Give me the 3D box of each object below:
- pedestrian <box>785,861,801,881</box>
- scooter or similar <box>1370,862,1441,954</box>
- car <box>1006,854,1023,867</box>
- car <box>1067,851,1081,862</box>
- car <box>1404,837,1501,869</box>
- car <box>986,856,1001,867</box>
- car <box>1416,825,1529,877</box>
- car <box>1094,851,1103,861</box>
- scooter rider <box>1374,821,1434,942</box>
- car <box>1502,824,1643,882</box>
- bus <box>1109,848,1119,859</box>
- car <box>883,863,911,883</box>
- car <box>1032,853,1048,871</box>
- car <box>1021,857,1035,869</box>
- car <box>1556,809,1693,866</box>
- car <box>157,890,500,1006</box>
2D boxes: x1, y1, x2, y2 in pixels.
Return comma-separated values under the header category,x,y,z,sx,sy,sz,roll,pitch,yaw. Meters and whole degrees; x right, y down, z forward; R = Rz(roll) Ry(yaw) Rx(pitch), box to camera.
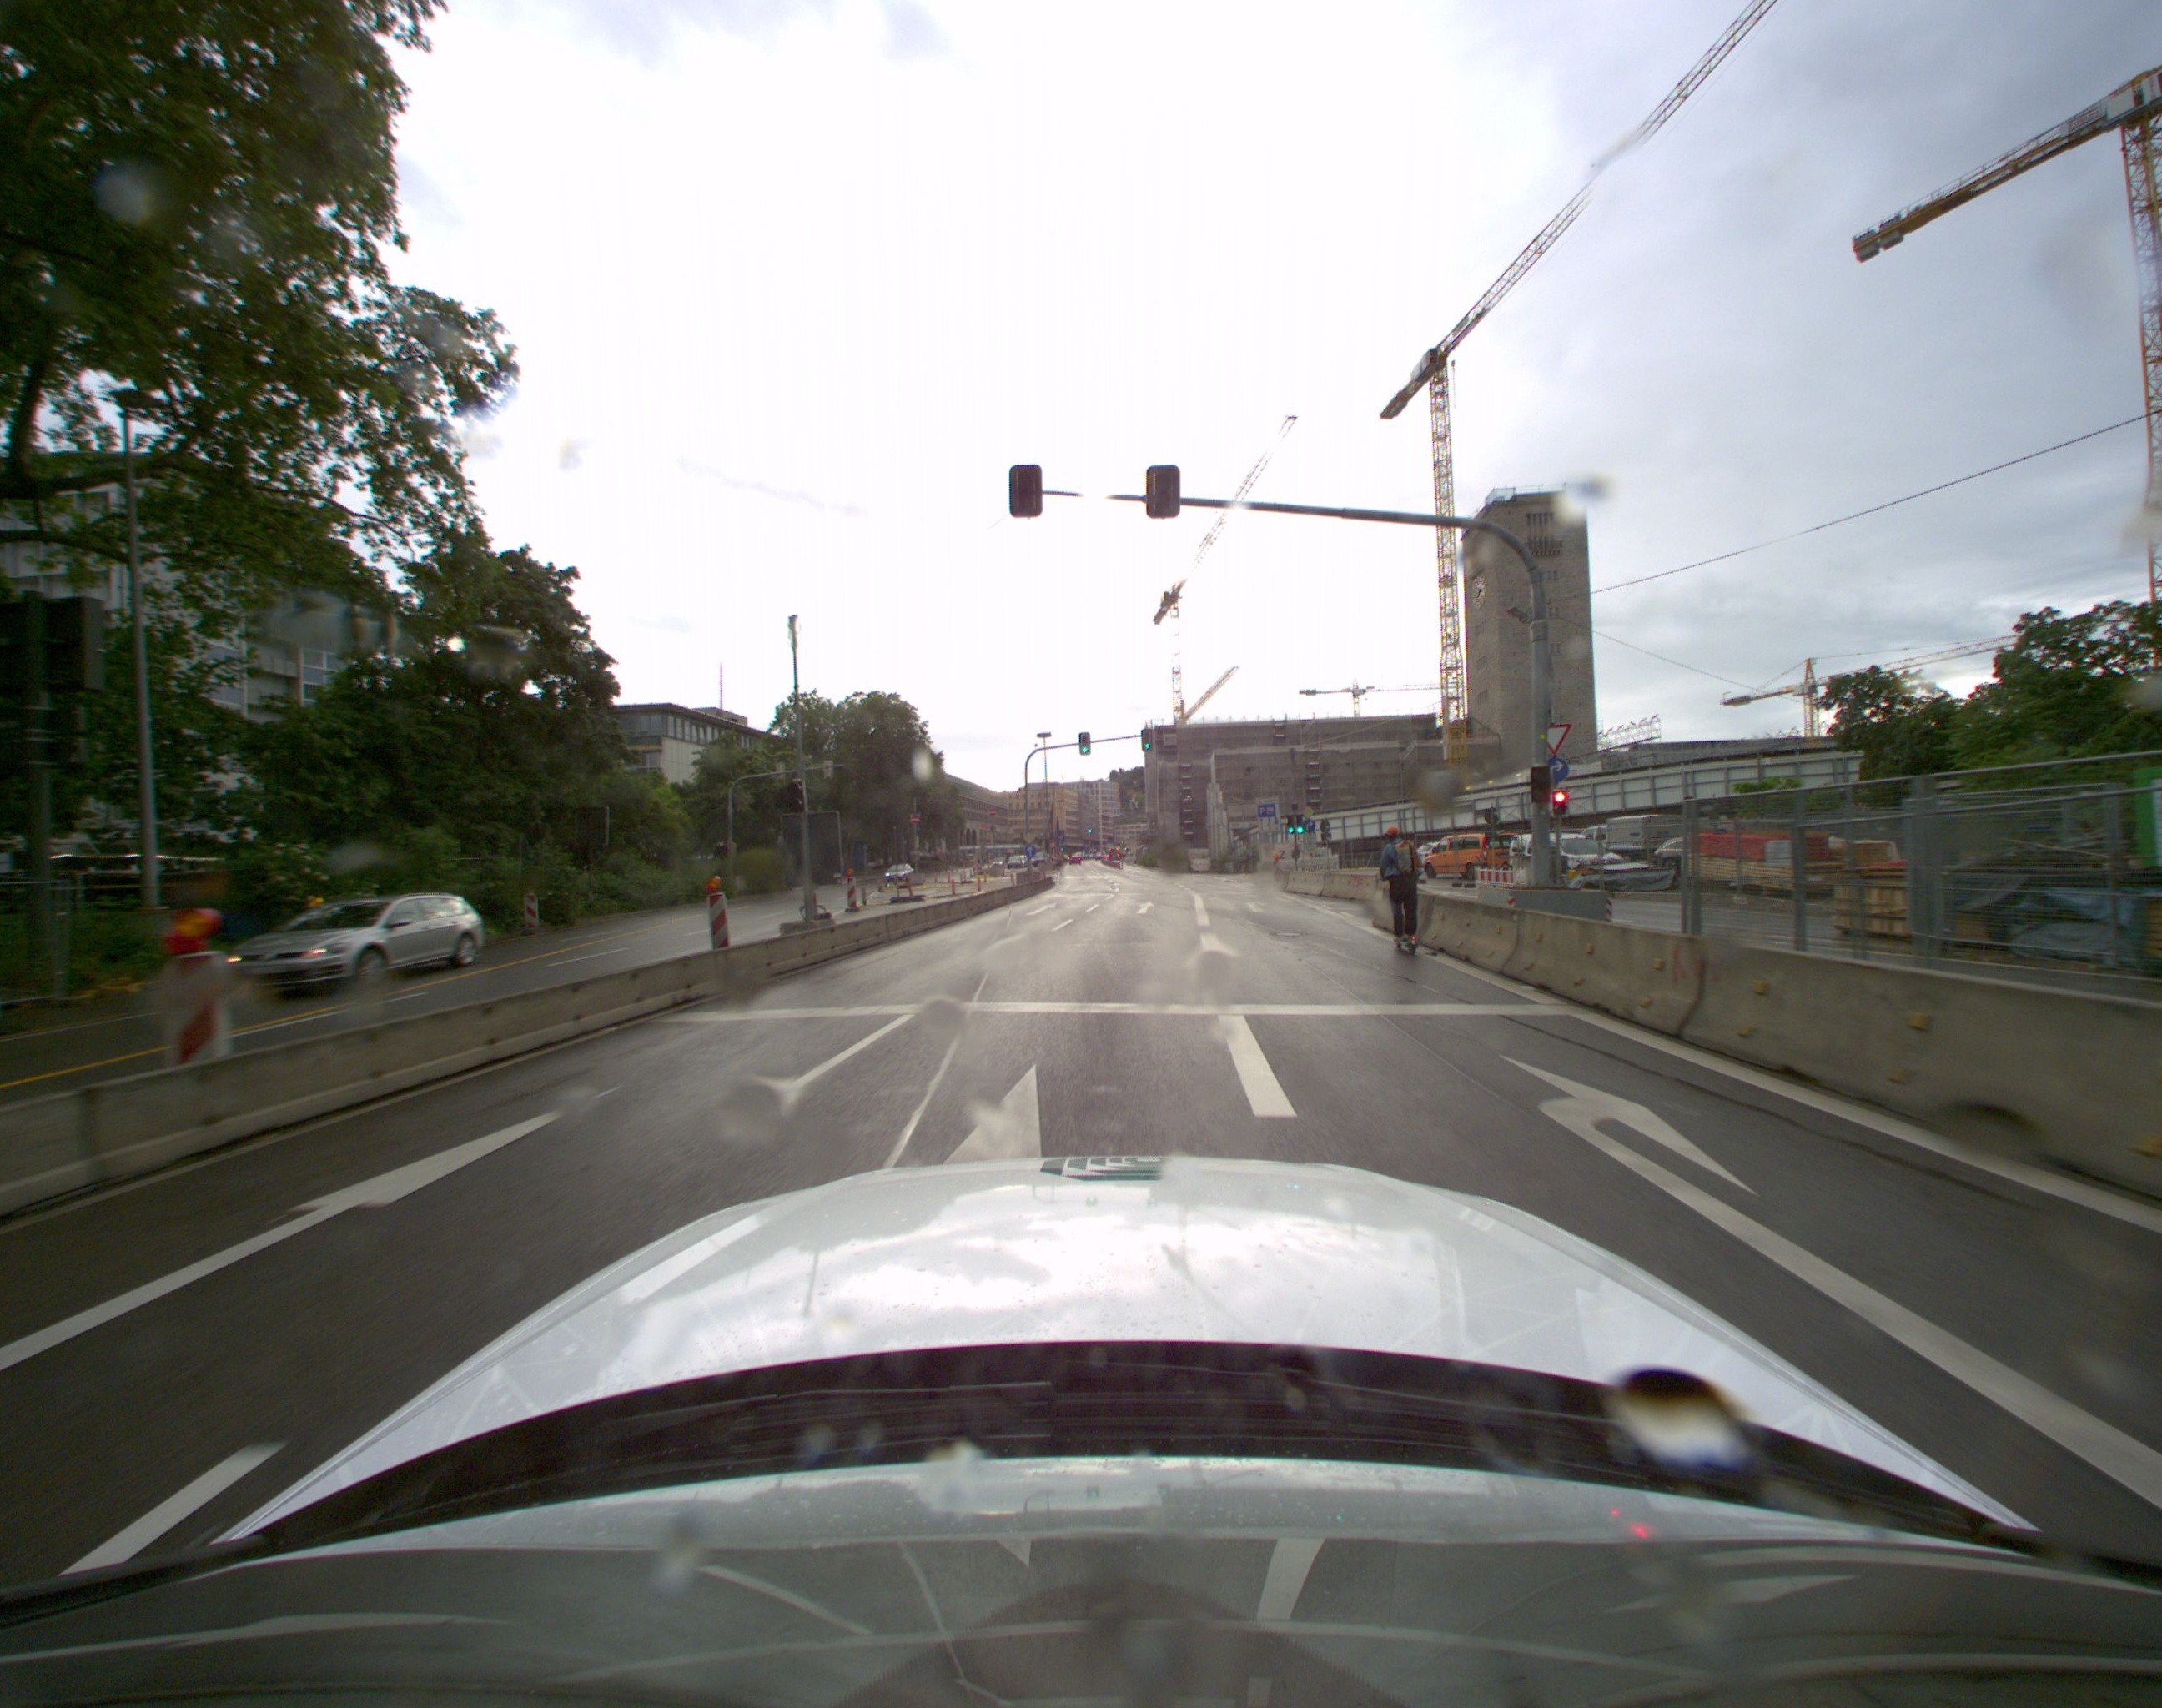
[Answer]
category,x,y,z,sx,sy,sz,roll,pitch,yaw
pedestrian,-23.760,1.396,67.142,0.582,1.557,1.118,-4,-3,17
scooter or similar,4.999,0.793,12.640,0.594,1.319,1.671,-1,0,7
car,-8.725,0.853,107.292,1.897,1.528,4.172,-4,-2,-3
car,-1.087,0.389,128.352,1.897,1.528,4.172,-4,-2,-3
car,19.268,-0.065,42.299,4.195,1.452,1.812,-3,0,-5
car,-13.247,1.146,123.835,1.897,1.528,4.172,-4,-2,-3
car,16.461,-0.105,34.592,1.909,1.975,5.153,-1,0,-5
car,4.265,0.497,199.917,1.986,2.014,4.000,-4,-2,1
scooter rider,4.982,0.411,12.627,0.594,1.786,0.999,-1,-1,7
car,17.085,-0.074,28.648,1.841,1.806,5.085,-1,1,-1
bus,8.121,-0.097,201.012,1.984,2.432,4.005,-4,-2,5
car,-15.242,1.532,67.554,1.764,1.463,4.167,-4,0,-7
car,-5.396,1.065,107.603,1.897,2.083,4.172,-4,-2,-3
car,-7.898,1.336,122.305,1.897,1.528,4.172,-4,-2,-3
car,24.956,-0.672,37.715,2.043,2.313,5.591,-3,0,-7
car,-12.529,1.459,14.080,1.990,1.541,4.437,-3,-2,-5
